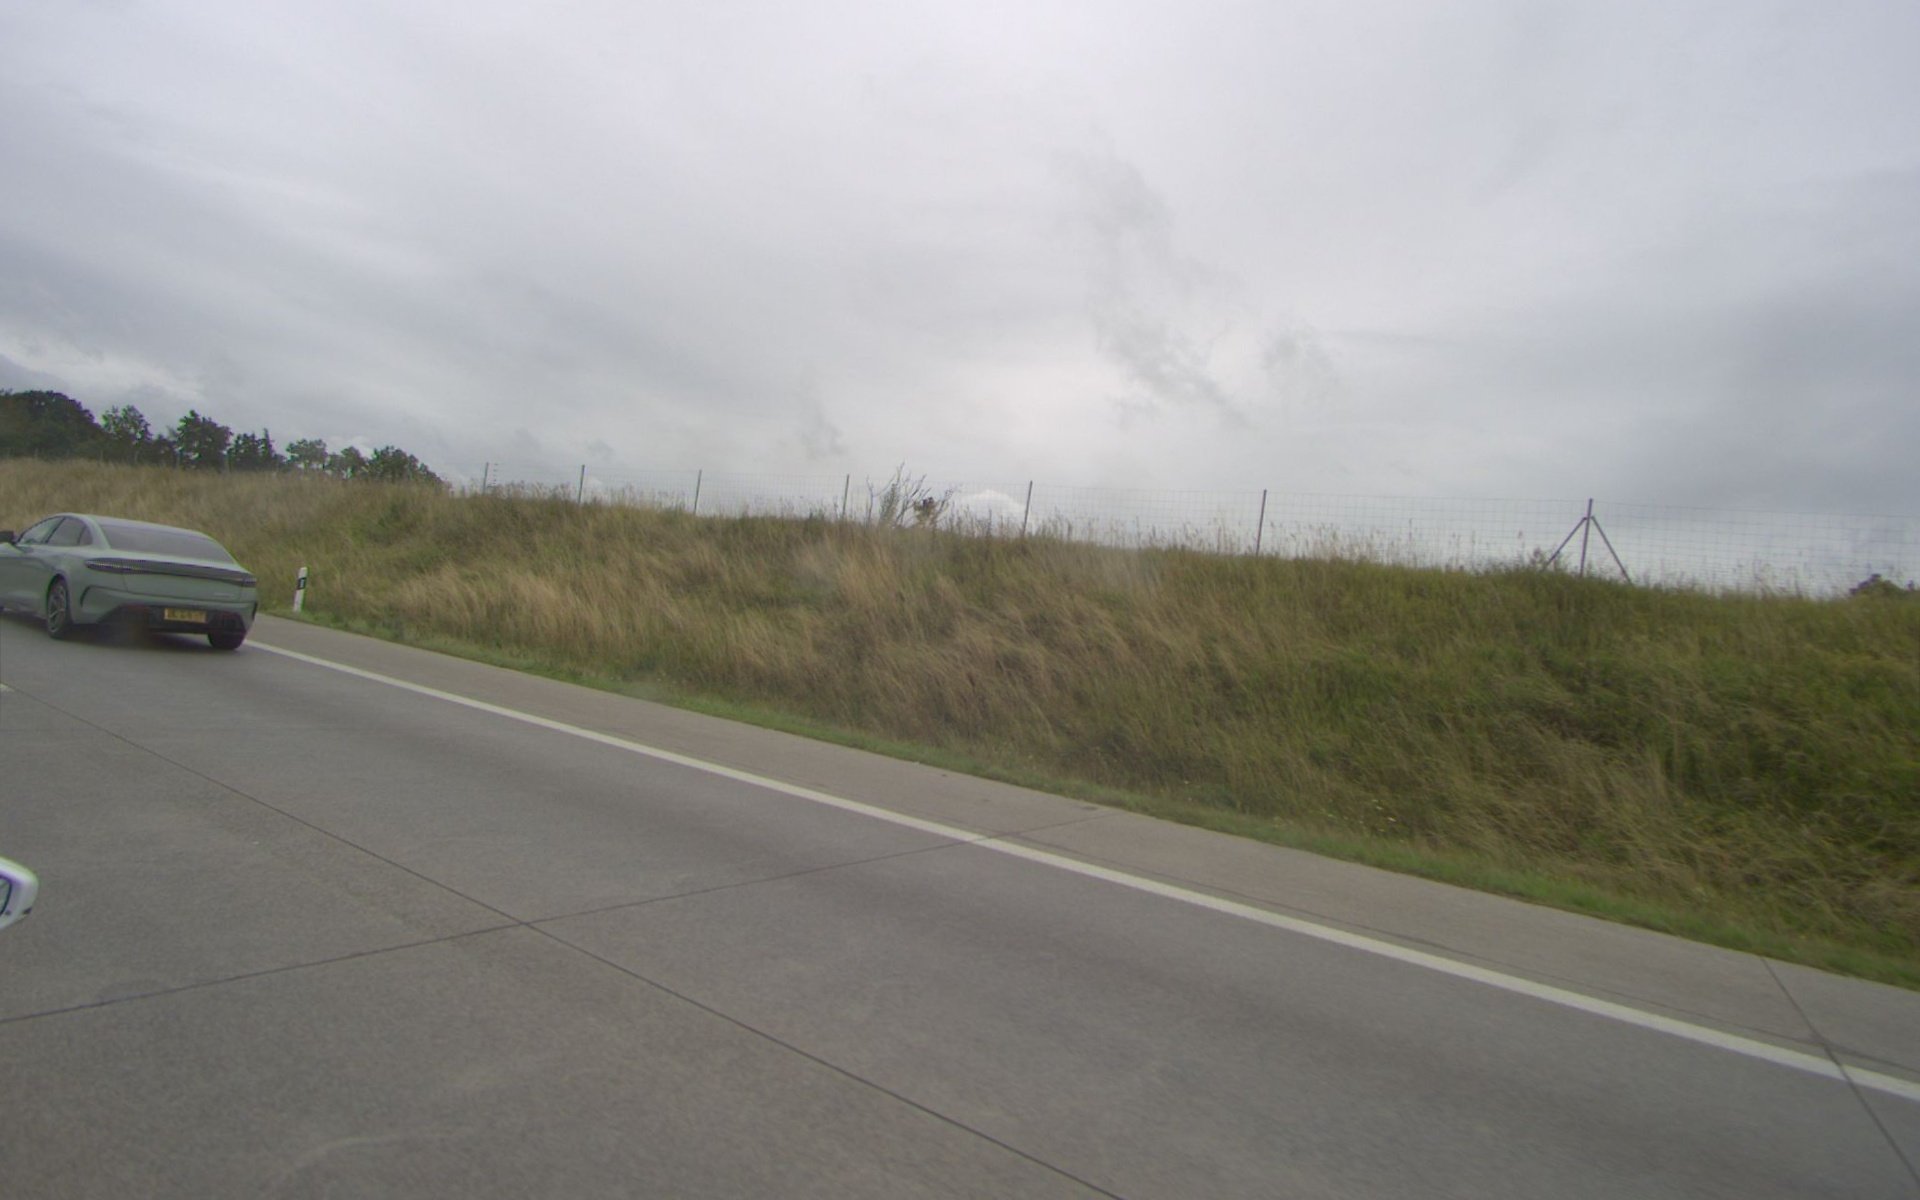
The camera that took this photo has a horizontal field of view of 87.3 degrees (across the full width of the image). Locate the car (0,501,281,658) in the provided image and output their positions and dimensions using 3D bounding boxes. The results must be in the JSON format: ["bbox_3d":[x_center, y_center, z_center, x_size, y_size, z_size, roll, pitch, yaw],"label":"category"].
[{"bbox_3d":[-11.285,-0.344,13.322,4.667,1.462,2.018,8,-1,33],"label":"car"}]
